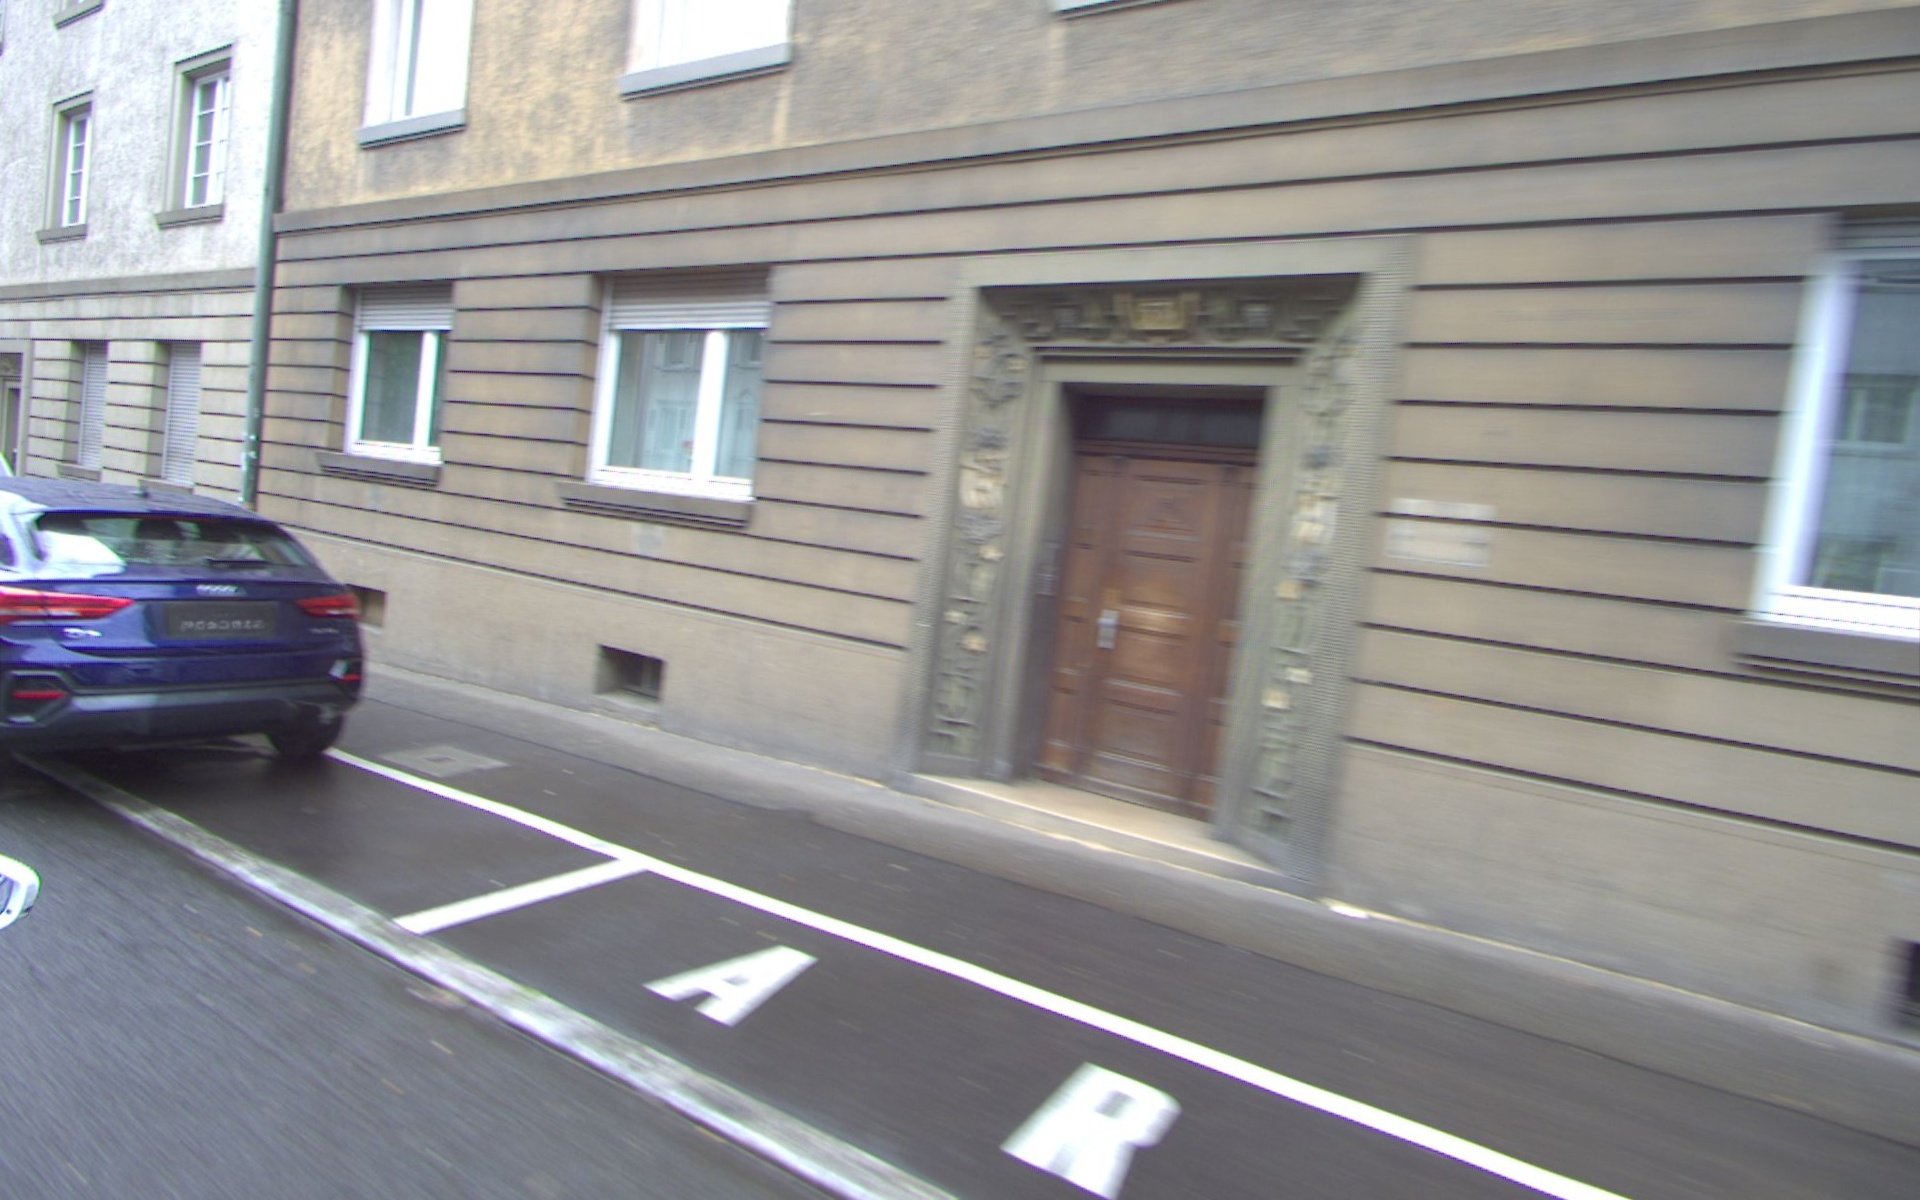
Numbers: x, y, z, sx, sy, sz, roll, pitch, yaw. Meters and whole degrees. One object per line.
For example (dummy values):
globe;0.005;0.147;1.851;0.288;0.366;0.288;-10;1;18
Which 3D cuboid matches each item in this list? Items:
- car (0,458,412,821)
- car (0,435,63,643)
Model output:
car;-5.424;-0.020;6.142;4.155;1.569;1.790;7;3;32
car;-10.442;-0.748;9.520;4.011;1.842;1.790;7;3;31
